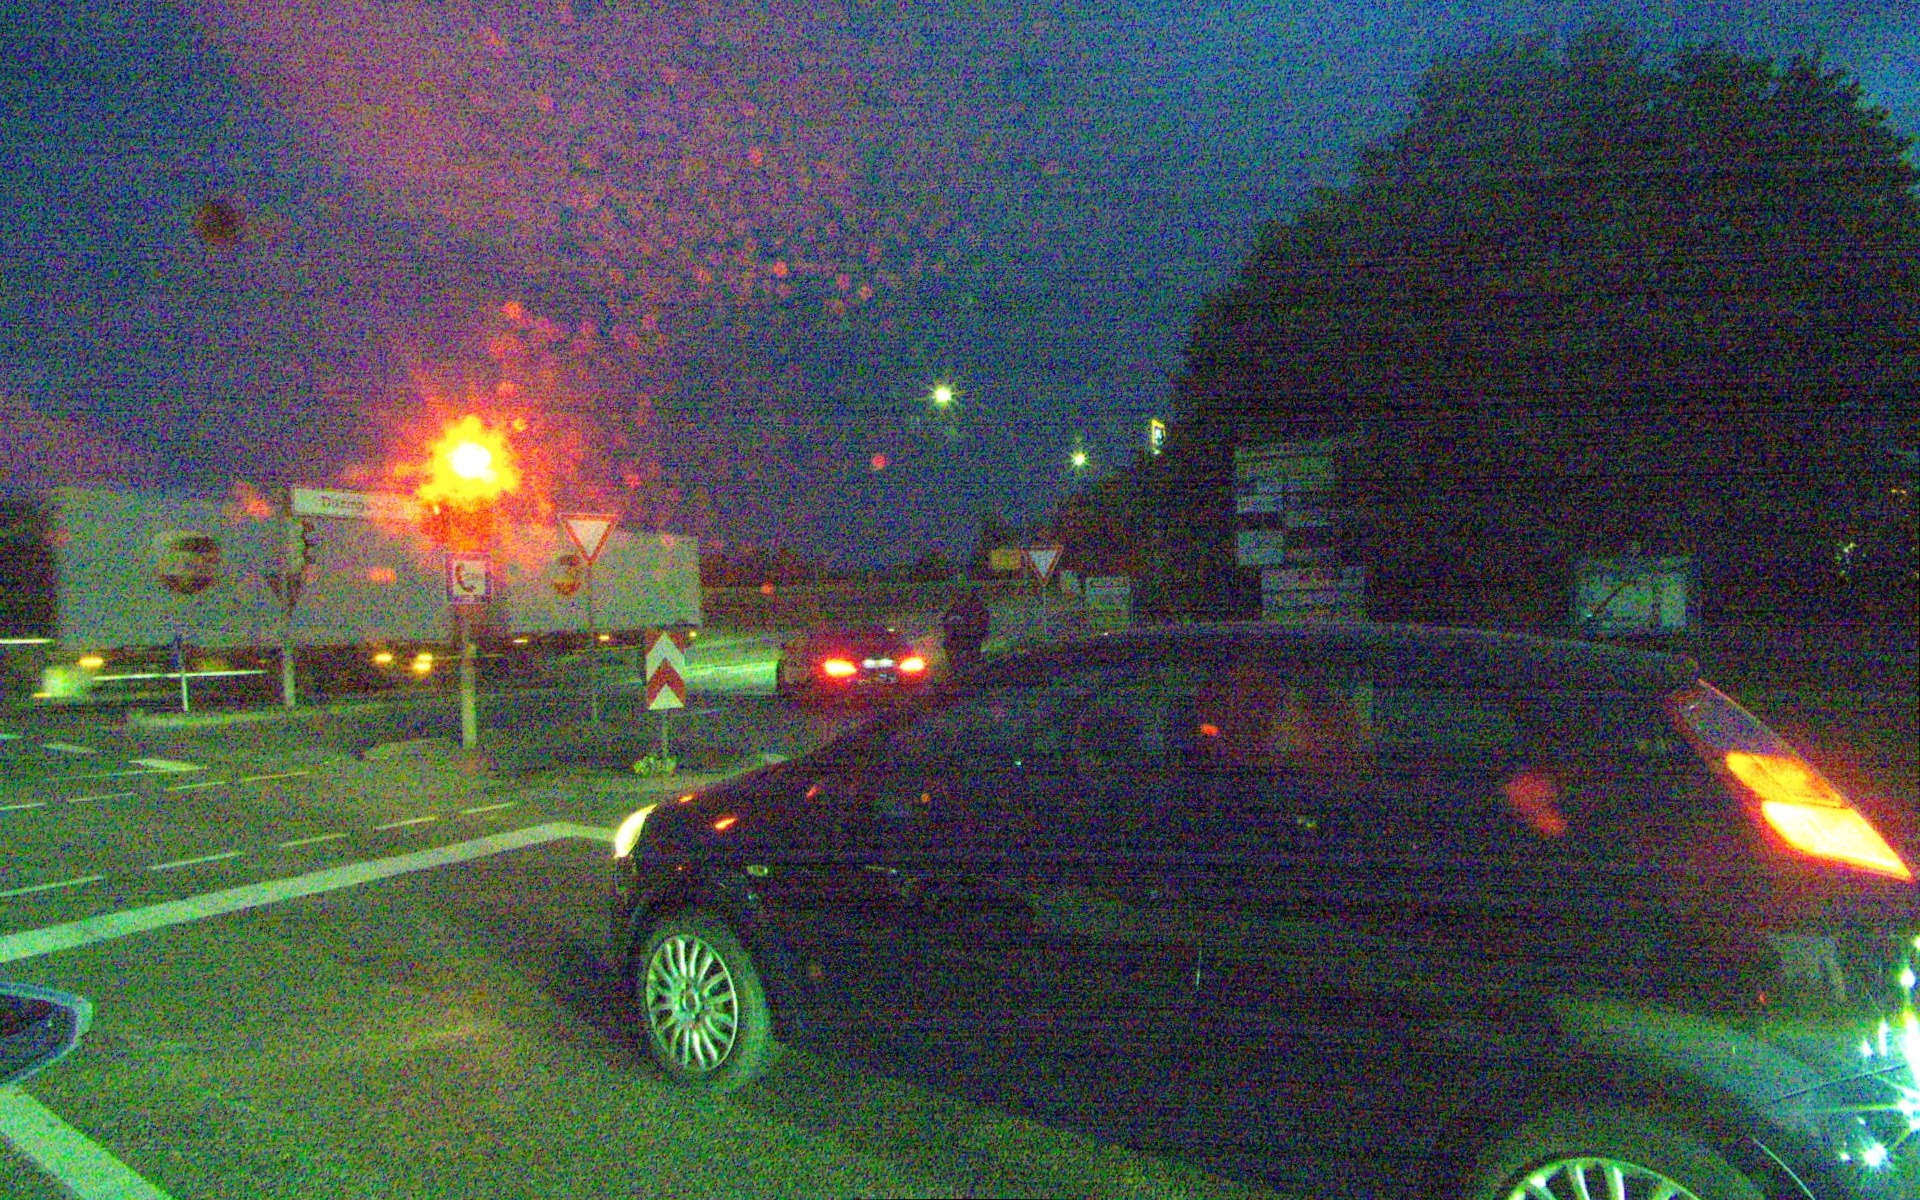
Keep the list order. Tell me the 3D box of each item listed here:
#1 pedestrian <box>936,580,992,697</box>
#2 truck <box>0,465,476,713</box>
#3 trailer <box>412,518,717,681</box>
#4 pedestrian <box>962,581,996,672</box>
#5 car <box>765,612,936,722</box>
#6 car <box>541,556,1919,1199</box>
[{"bbox_3d":[0.076,0.693,18.057,0.704,2.039,0.776,-1,-1,33],"label":"pedestrian"},{"bbox_3d":[-15.569,-0.125,20.722,2.693,4.171,10.300,-1,-1,29],"label":"truck"},{"bbox_3d":[-10.997,-0.060,29.168,2.543,3.996,8.844,0,1,26],"label":"trailer"},{"bbox_3d":[0.425,0.601,22.848,0.700,2.039,0.781,0,-1,-6],"label":"pedestrian"},{"bbox_3d":[-1.994,1.027,17.141,1.779,1.462,3.985,-2,2,-23],"label":"car"},{"bbox_3d":[0.485,0.776,3.248,3.663,1.556,1.655,-2,-2,33],"label":"car"}]
